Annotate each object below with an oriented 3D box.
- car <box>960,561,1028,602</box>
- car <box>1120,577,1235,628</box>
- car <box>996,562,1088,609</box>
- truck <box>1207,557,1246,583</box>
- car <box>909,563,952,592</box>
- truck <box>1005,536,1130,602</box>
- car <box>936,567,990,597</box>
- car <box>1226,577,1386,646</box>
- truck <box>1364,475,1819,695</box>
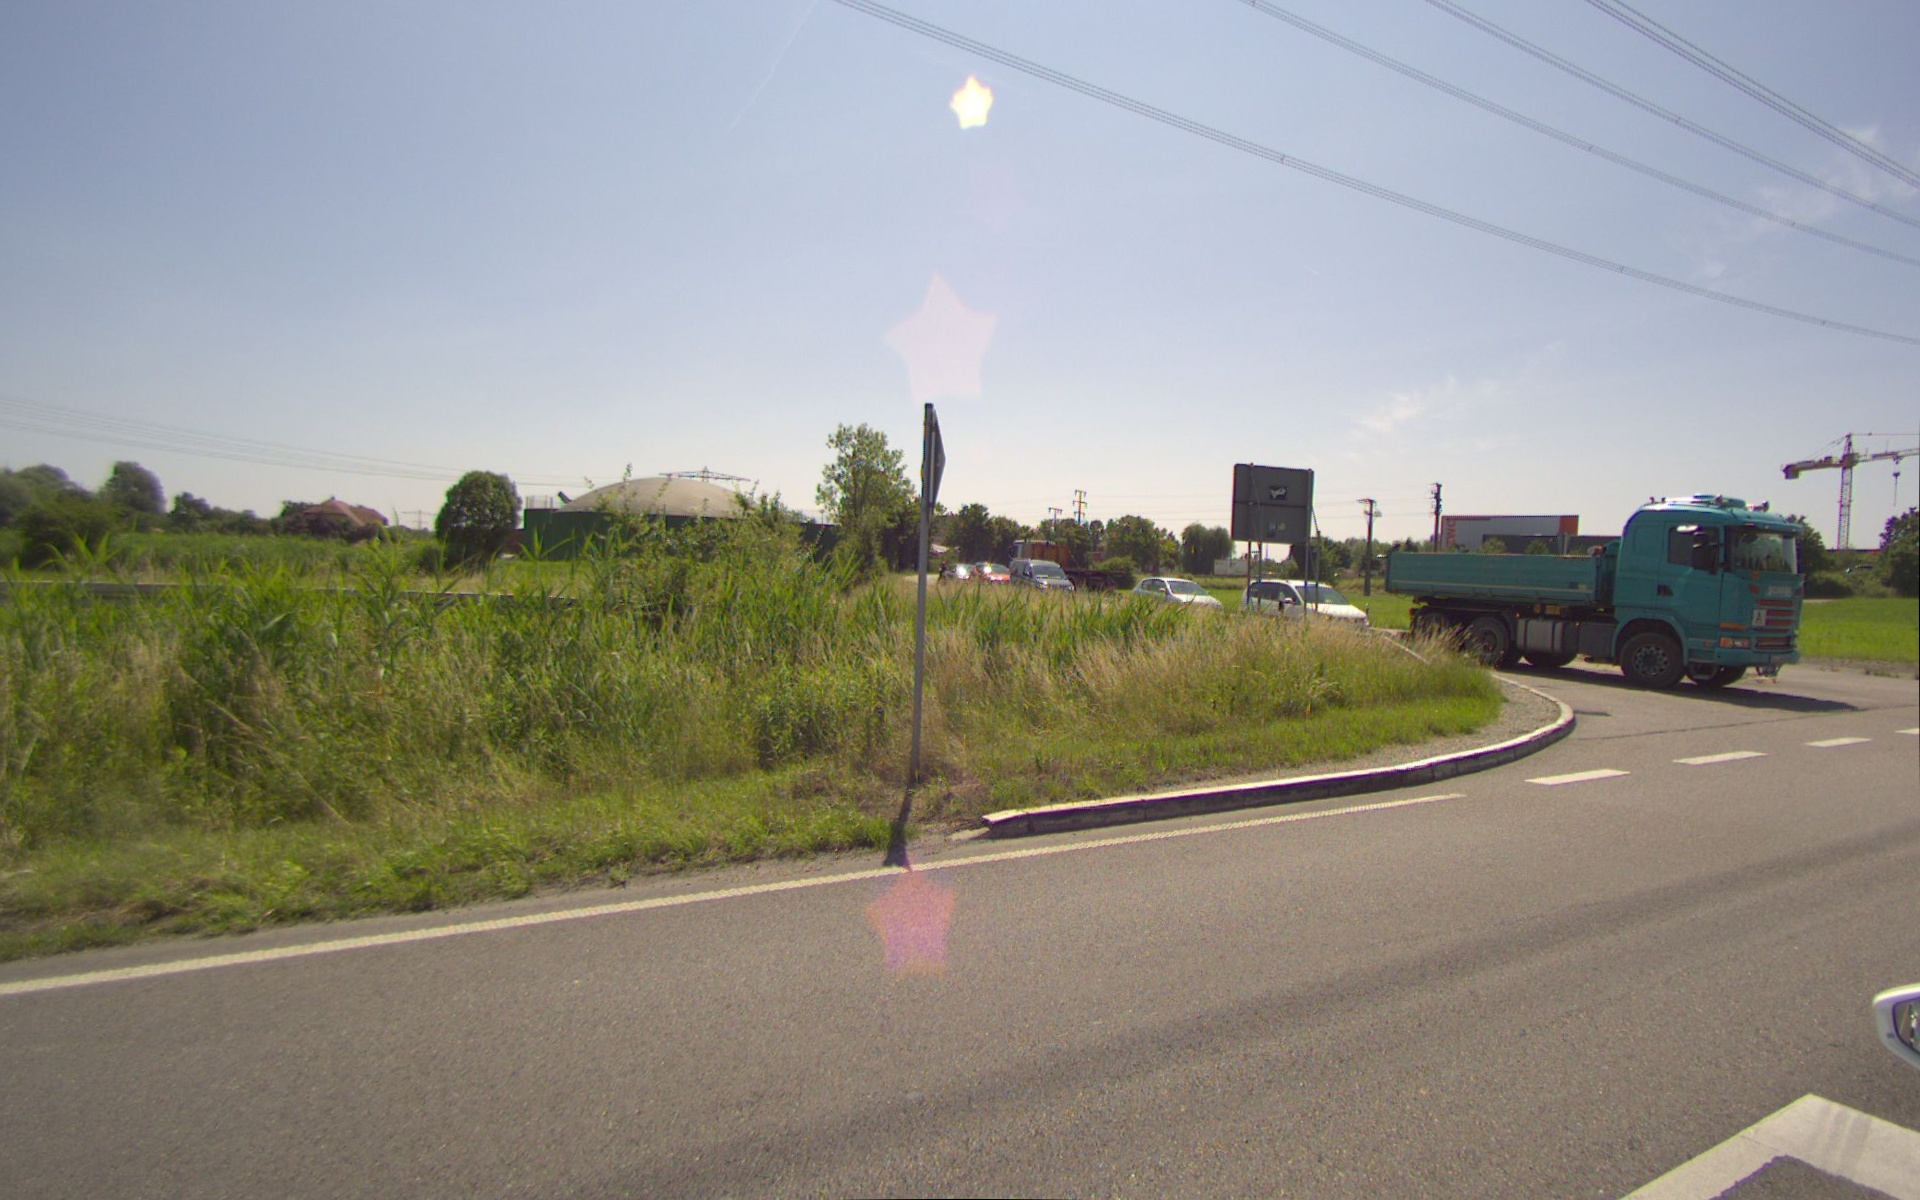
[{"bbox_3d":[1.656,-0.949,50.272,1.886,1.874,4.463,1,2,-19],"label":"car"},{"bbox_3d":[7.179,0.042,33.606,1.691,1.490,4.427,1,1,-19],"label":"car"},{"bbox_3d":[3.486,-0.668,43.793,2.057,1.893,4.927,0,2,-21],"label":"car"},{"bbox_3d":[53.515,-5.987,201.603,3.626,4.708,13.206,3,1,32],"label":"truck"},{"bbox_3d":[-1.892,-1.392,62.458,1.965,1.691,3.991,1,1,-12],"label":"car"},{"bbox_3d":[5.790,-1.673,56.390,2.788,3.332,9.650,1,1,-21],"label":"truck"},{"bbox_3d":[0.125,-1.016,56.014,1.754,1.498,3.982,1,2,-19],"label":"car"},{"bbox_3d":[9.427,0.257,27.829,1.935,1.634,4.540,1,2,-15],"label":"car"},{"bbox_3d":[12.737,-0.434,21.351,2.466,3.785,7.873,1,3,-27],"label":"truck"}]
